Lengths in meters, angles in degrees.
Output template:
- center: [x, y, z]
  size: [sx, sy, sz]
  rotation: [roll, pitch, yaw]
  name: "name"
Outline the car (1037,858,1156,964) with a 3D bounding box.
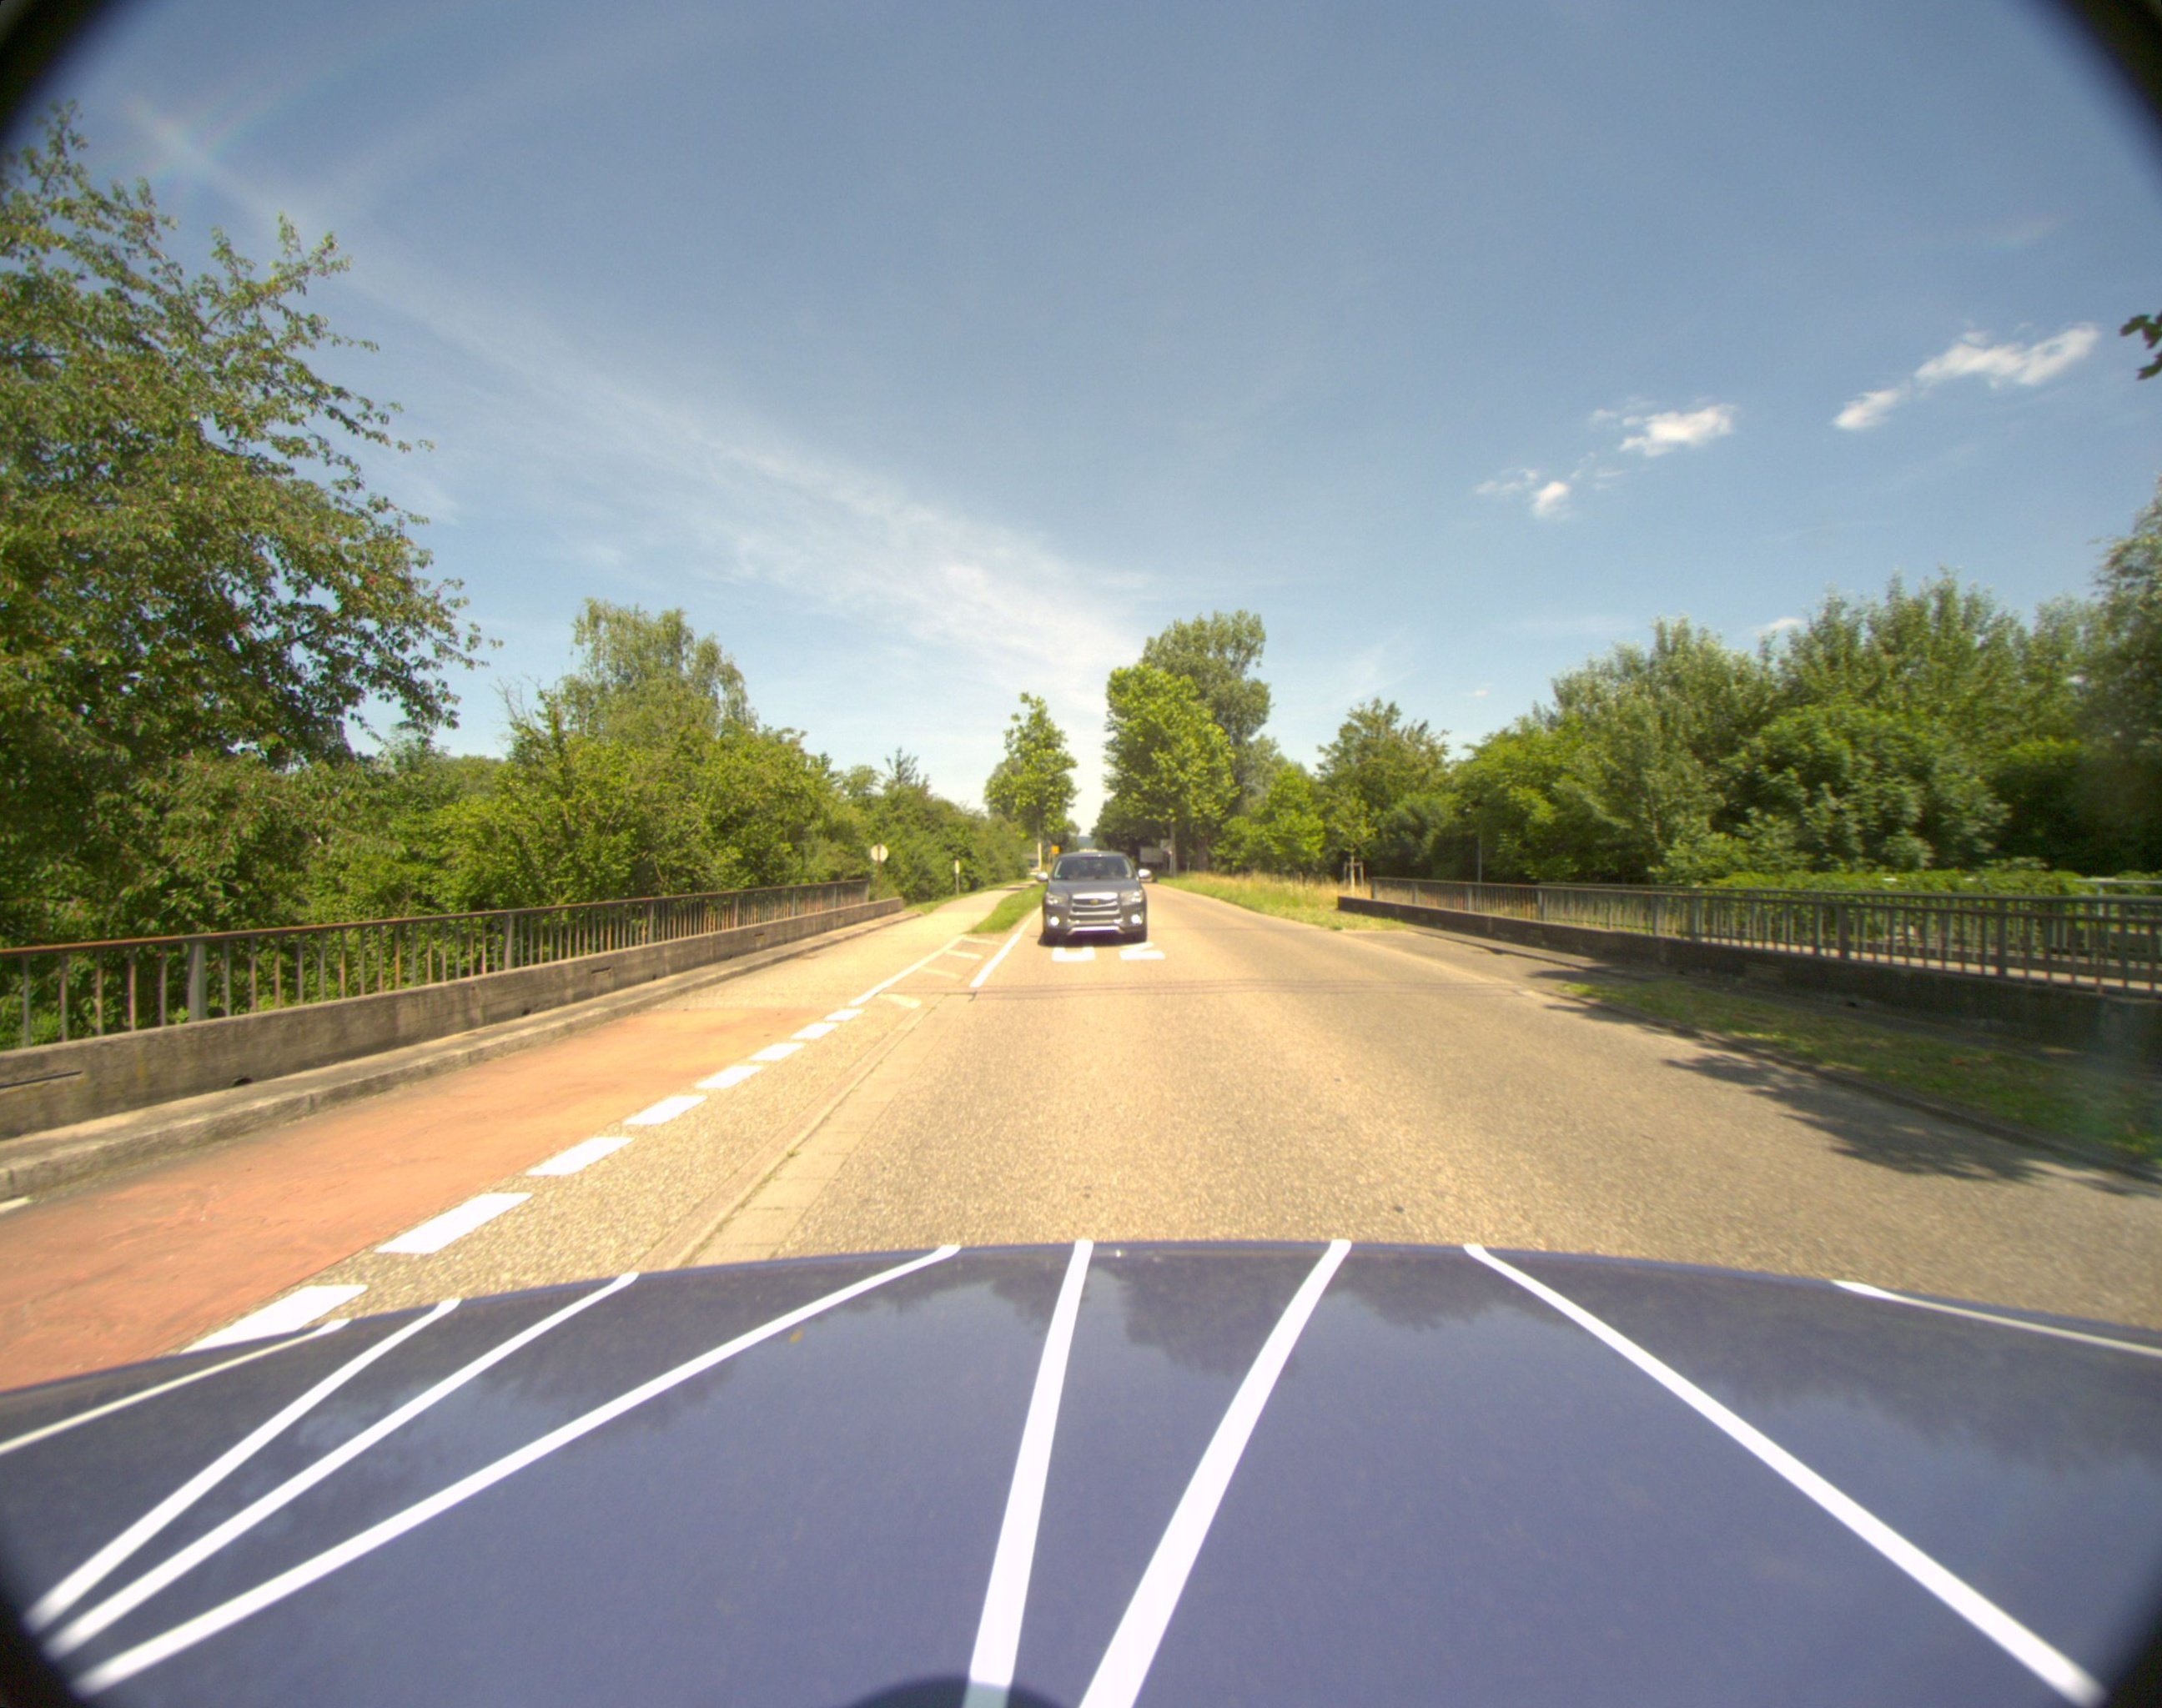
- center: [0.242, 0.859, 13.537]
  size: [1.750, 1.525, 4.524]
  rotation: [-1, 0, 0]
  name: "car"
